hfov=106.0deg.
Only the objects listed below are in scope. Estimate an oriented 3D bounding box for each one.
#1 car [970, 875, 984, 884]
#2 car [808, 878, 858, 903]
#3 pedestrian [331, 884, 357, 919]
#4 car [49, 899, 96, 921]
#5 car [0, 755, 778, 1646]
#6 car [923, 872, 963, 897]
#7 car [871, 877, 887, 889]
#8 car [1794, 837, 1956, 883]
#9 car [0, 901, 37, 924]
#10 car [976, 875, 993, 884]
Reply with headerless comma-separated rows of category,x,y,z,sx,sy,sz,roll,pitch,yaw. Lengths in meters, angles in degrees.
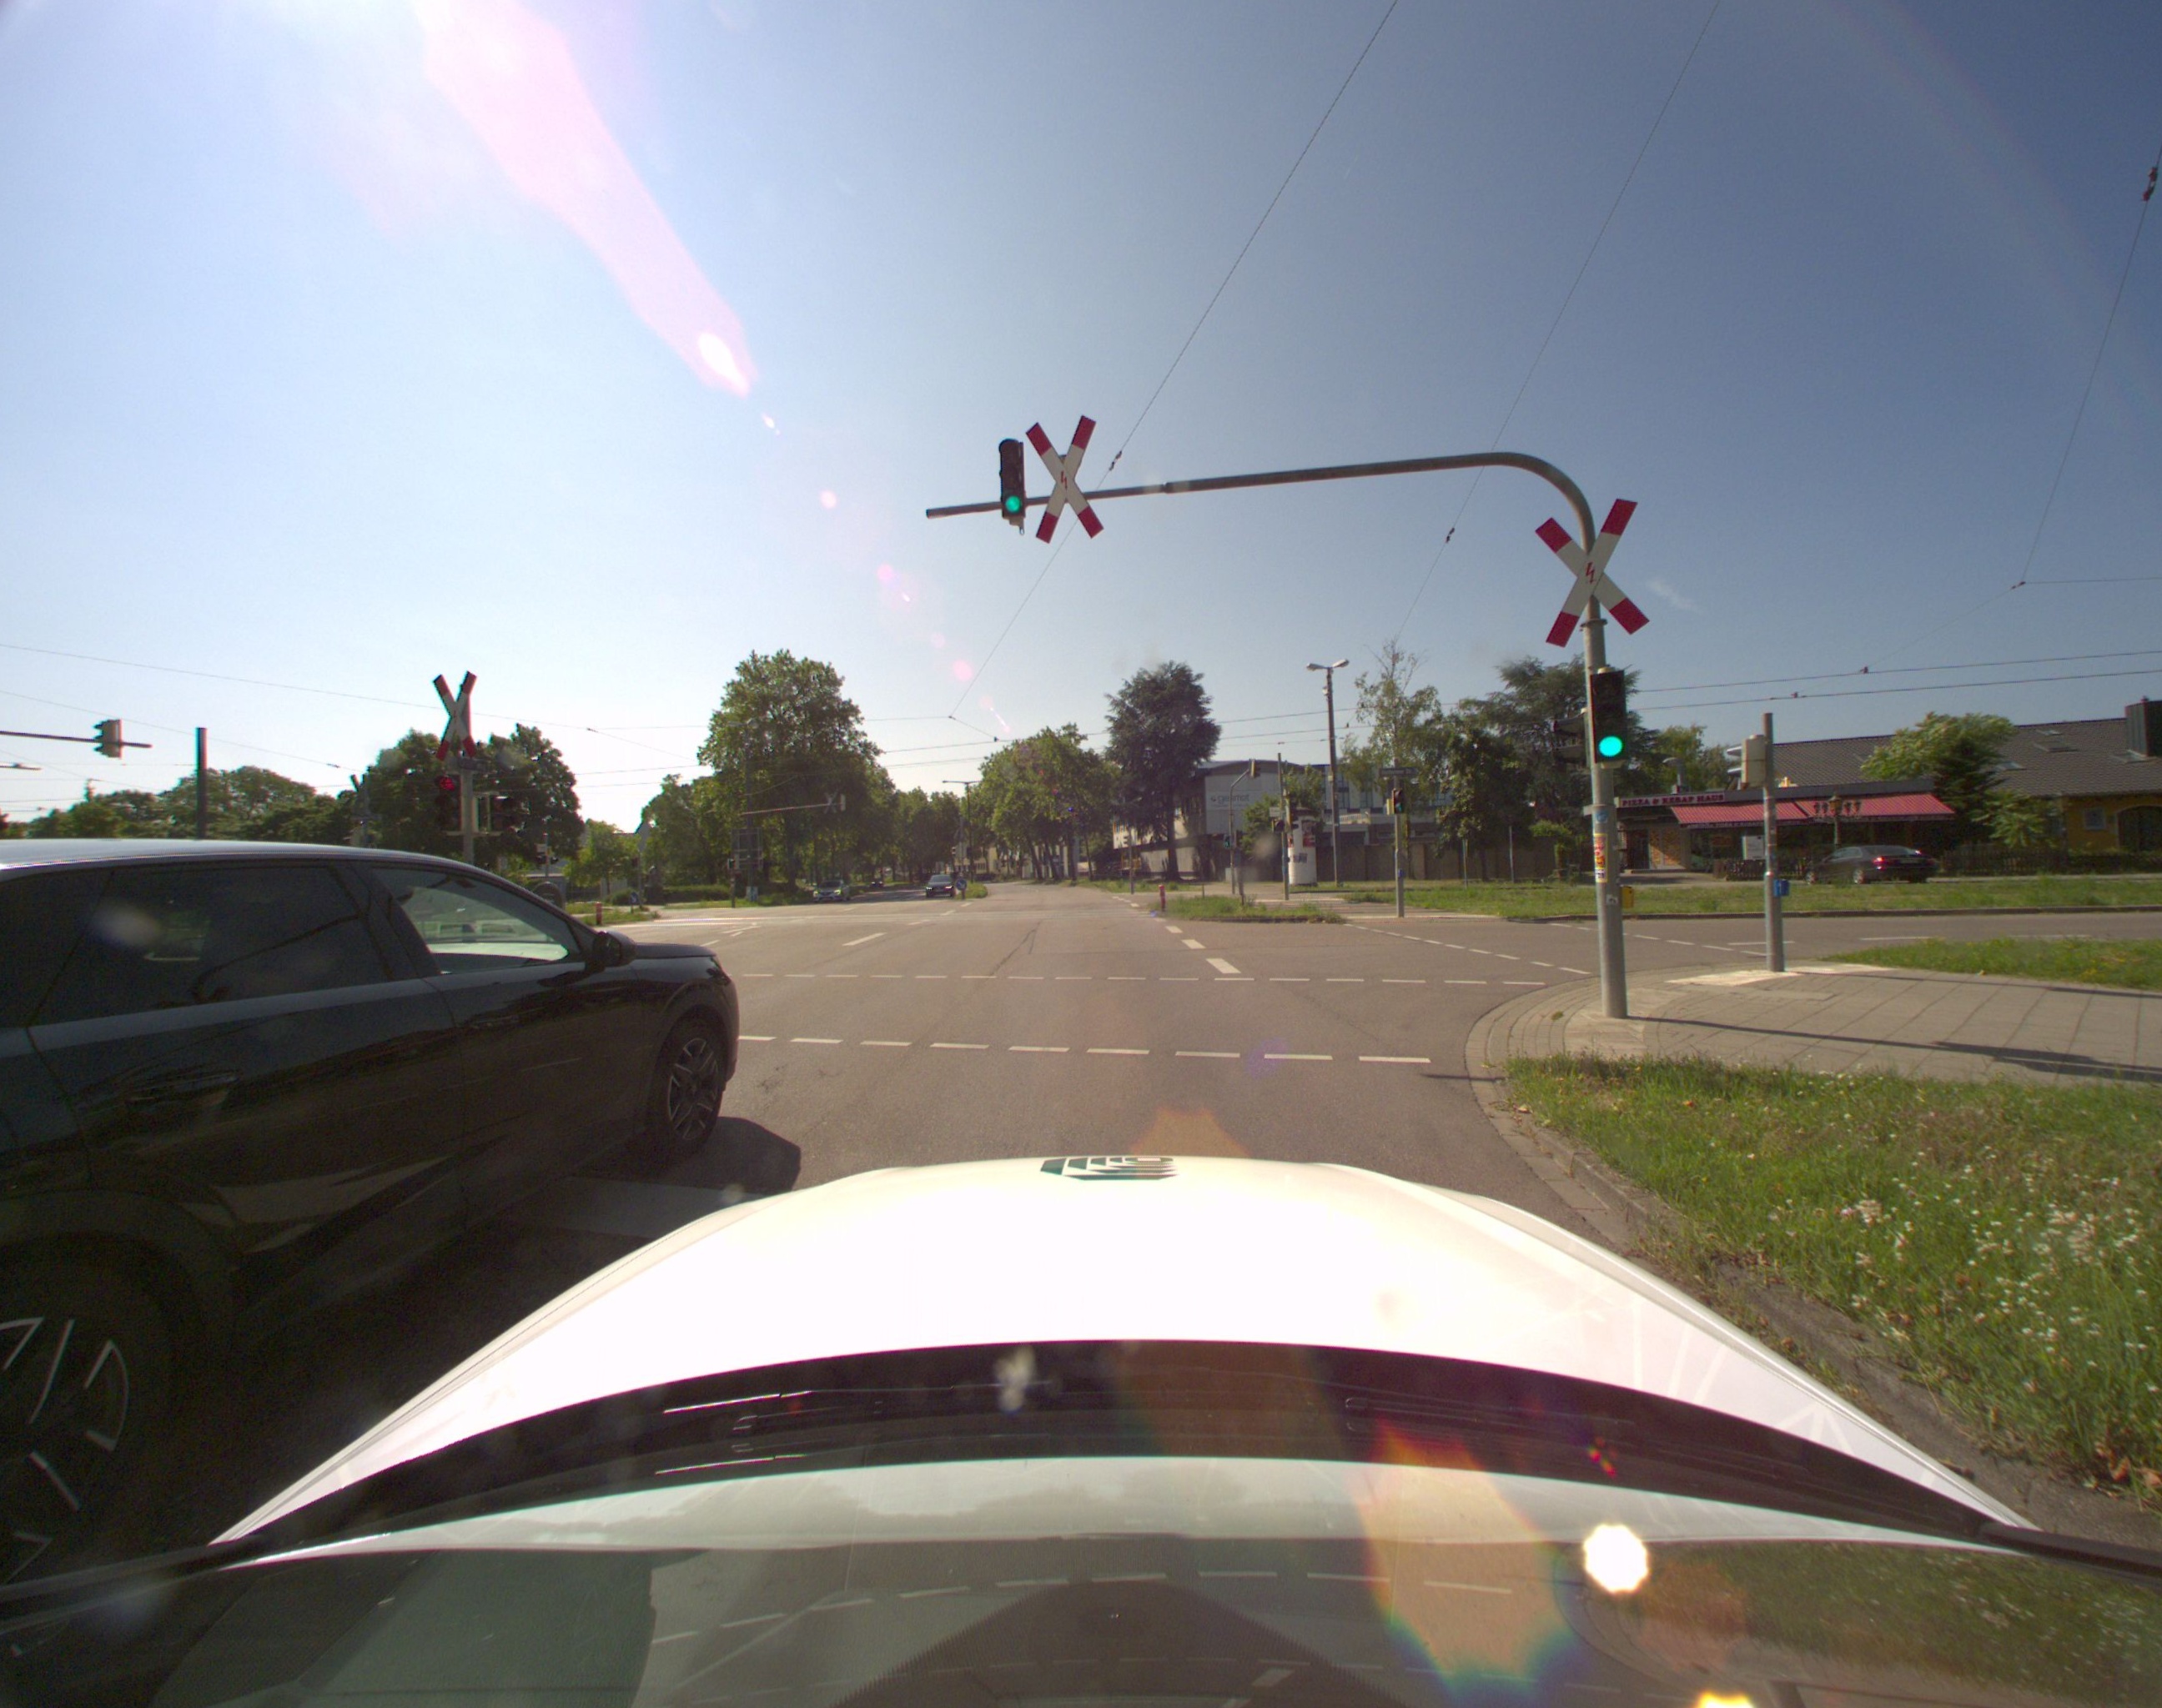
car,-19.025,4.638,148.626,1.712,1.488,4.075,-2,-1,-18
car,-16.218,2.363,53.541,1.687,1.508,4.663,-2,-1,2
pedestrian,-42.789,2.746,47.283,0.792,2.014,0.710,-2,-1,-7
car,-72.063,3.980,58.187,3.299,1.446,1.457,-3,-2,27
car,-2.947,0.700,2.977,1.865,1.696,4.437,-1,-1,2
car,-8.979,1.966,53.229,1.687,1.508,4.131,-2,-1,2
car,-31.054,4.478,125.312,1.708,1.589,4.420,-3,-1,-8
car,29.136,0.300,30.158,2.119,1.499,5.141,-2,-2,17
car,-73.091,3.996,55.776,3.299,1.446,1.357,-3,-2,27
car,-16.974,4.446,143.258,1.714,1.487,4.683,-3,-1,-22
